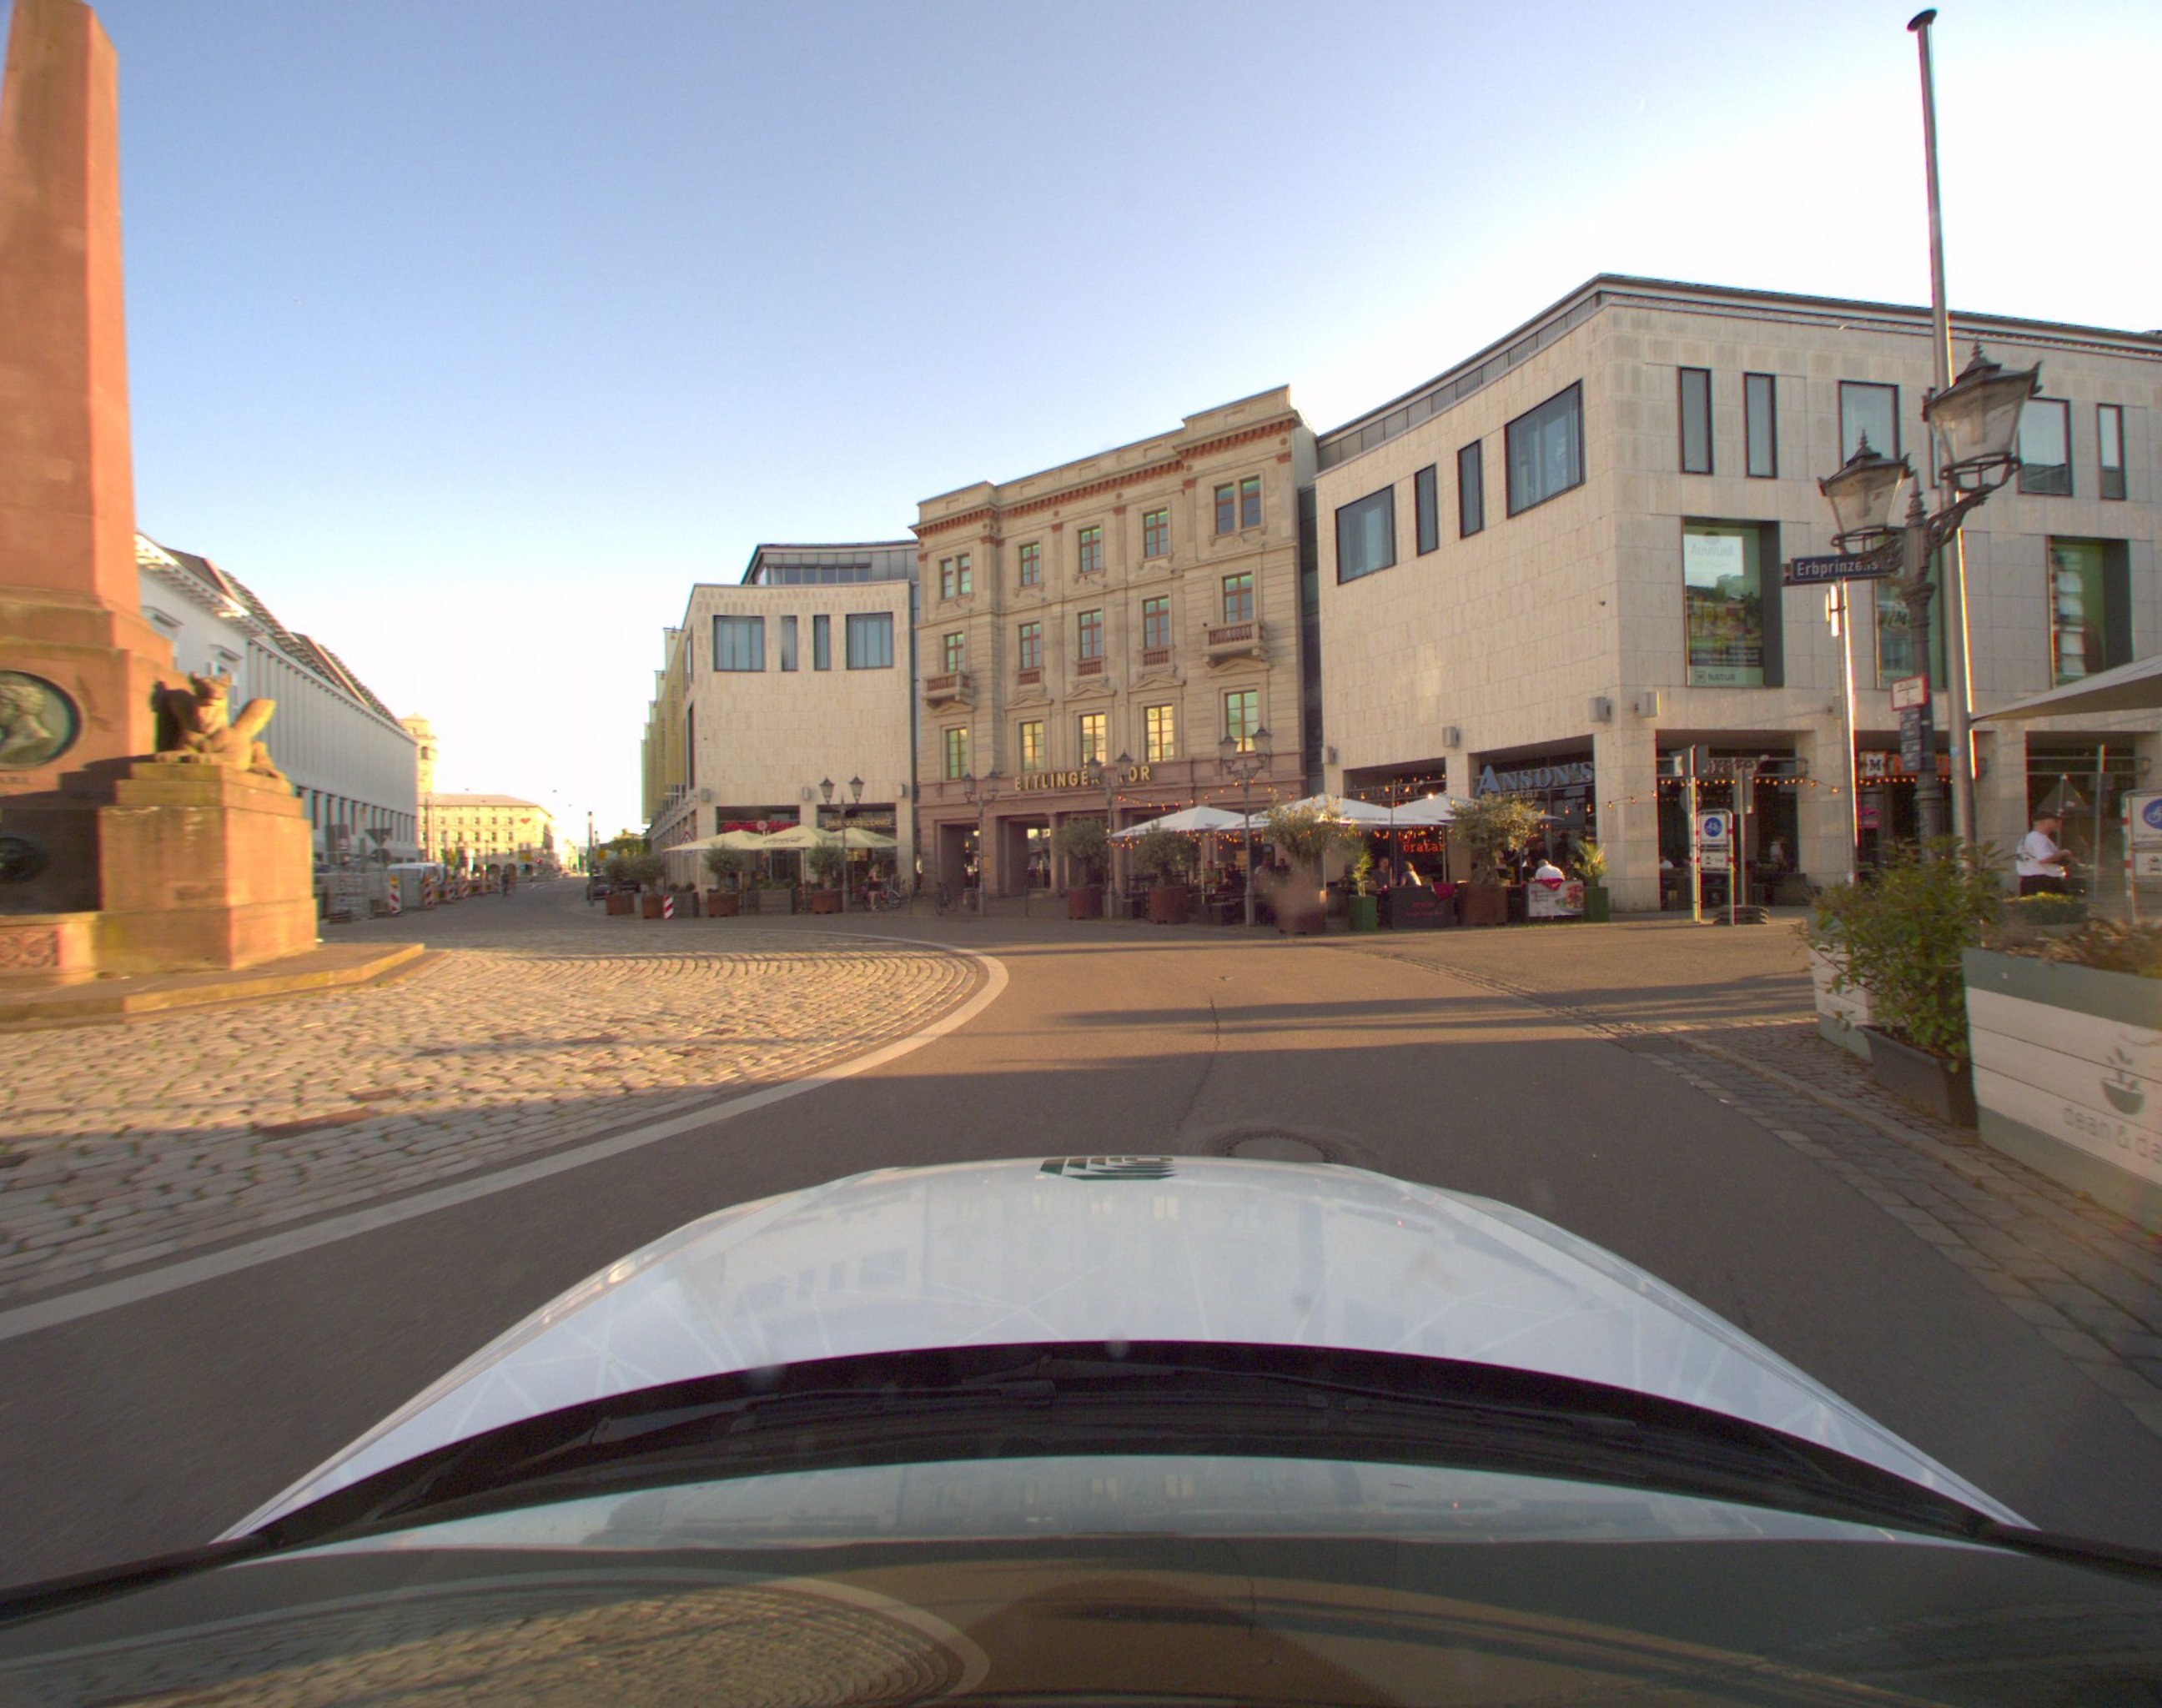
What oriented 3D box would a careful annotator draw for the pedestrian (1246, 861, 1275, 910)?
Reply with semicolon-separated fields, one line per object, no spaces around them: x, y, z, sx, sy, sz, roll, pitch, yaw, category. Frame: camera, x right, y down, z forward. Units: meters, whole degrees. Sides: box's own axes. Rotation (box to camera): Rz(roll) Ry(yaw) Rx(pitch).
5.576;0.964;25.320;0.592;1.478;0.620;-1;-1;-19;pedestrian

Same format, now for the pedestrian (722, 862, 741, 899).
-17.416;1.310;40.624;0.713;1.787;0.638;-1;-1;-37;pedestrian

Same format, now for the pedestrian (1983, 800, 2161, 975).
11.677;0.379;9.575;1.016;1.932;1.014;-1;-1;16;pedestrian

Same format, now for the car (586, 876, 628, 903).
-28.166;2.064;48.525;2.005;1.464;3.963;-1;-1;-28;car

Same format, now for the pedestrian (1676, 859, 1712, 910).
14.434;0.711;19.185;0.499;1.156;0.467;-1;-1;-21;pedestrian

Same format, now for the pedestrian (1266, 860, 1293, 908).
6.265;0.948;25.729;0.545;1.478;0.620;-1;-1;-19;pedestrian

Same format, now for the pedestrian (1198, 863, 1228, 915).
3.828;0.998;23.606;0.547;1.478;0.618;-1;-1;-29;pedestrian

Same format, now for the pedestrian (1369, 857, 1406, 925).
6.826;0.808;18.133;0.528;1.478;0.560;-1;0;-11;pedestrian

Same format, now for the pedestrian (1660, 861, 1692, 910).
13.702;0.715;18.776;0.544;1.111;0.540;-2;-1;33;pedestrian

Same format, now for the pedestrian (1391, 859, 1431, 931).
7.013;0.859;17.324;0.528;1.478;0.561;-1;0;-10;pedestrian

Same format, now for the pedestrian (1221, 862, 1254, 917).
4.369;0.977;22.787;0.590;1.478;0.678;-1;-1;-27;pedestrian

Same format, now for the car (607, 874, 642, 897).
-31.596;2.167;56.471;2.005;1.464;3.963;-1;-1;-28;car

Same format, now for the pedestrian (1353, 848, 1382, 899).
9.873;0.657;28.084;0.621;1.721;0.686;-1;1;-34;pedestrian

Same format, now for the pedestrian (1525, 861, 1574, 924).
10.011;0.810;17.410;0.548;1.310;0.722;-1;0;-11;pedestrian

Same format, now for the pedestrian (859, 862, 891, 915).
-6.951;1.143;27.465;0.908;1.728;0.843;-1;-1;-22;pedestrian

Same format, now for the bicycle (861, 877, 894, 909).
-7.249;1.375;29.056;0.596;1.031;1.648;-1;0;6;bicycle

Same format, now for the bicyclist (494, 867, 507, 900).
-39.275;1.986;55.069;0.603;2.242;0.796;-1;-1;-29;bicyclist

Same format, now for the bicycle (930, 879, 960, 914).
-4.356;1.352;26.149;0.504;1.031;1.648;-1;0;6;bicycle

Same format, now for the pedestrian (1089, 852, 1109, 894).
0.749;0.807;34.482;0.616;1.728;0.549;-2;-1;35;pedestrian

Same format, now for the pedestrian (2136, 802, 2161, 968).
12.639;0.352;9.097;0.677;1.897;0.878;-1;-1;24;pedestrian

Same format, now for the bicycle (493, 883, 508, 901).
-39.279;2.539;55.086;0.603;1.138;1.738;-1;-1;-29;bicycle

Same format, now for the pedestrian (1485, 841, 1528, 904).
11.333;0.490;21.699;0.695;1.647;0.688;-1;-1;-19;pedestrian

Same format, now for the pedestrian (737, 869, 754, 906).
-12.693;1.264;30.831;0.507;1.398;0.493;-1;-1;-14;pedestrian

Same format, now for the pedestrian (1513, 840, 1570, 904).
12.187;0.465;21.570;0.931;1.647;0.862;-1;0;-18;pedestrian

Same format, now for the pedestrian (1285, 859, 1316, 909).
6.686;0.900;24.832;0.628;1.478;0.617;-1;-1;-40;pedestrian

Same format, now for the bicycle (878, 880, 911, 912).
-6.621;1.480;28.995;0.616;1.031;1.648;-1;0;6;bicycle

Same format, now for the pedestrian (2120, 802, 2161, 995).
10.724;0.414;7.809;0.780;1.843;0.675;-2;-1;40;pedestrian

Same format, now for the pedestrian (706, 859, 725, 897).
-17.978;1.175;40.048;0.690;1.816;0.642;-2;-1;43;pedestrian
